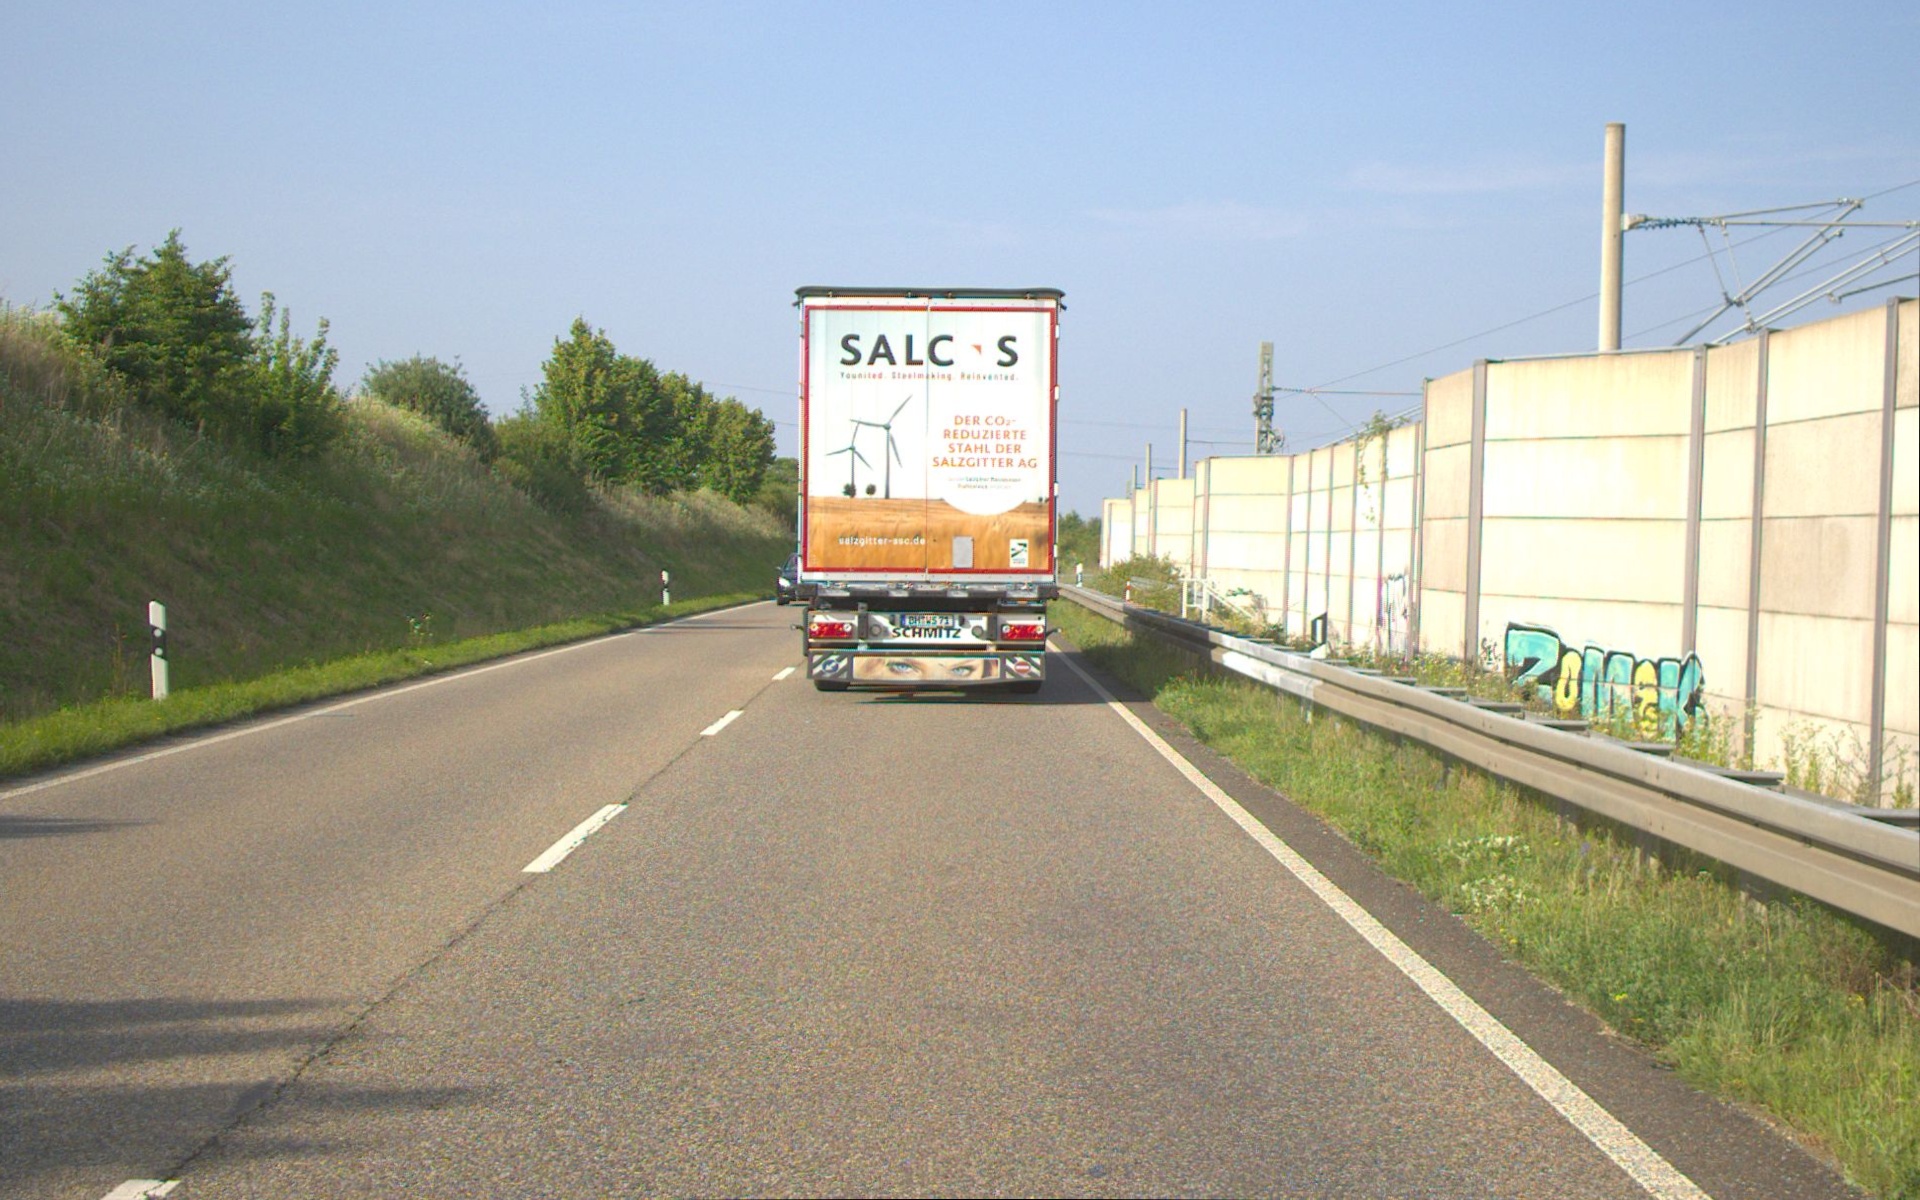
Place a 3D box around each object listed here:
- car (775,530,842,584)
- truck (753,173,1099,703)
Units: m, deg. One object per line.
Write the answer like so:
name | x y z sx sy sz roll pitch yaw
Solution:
car | -4.158 -1.199 94.763 1.716 1.448 4.019 1 1 -1
truck | -0.304 -1.666 39.177 3.290 5.072 12.038 1 1 0
